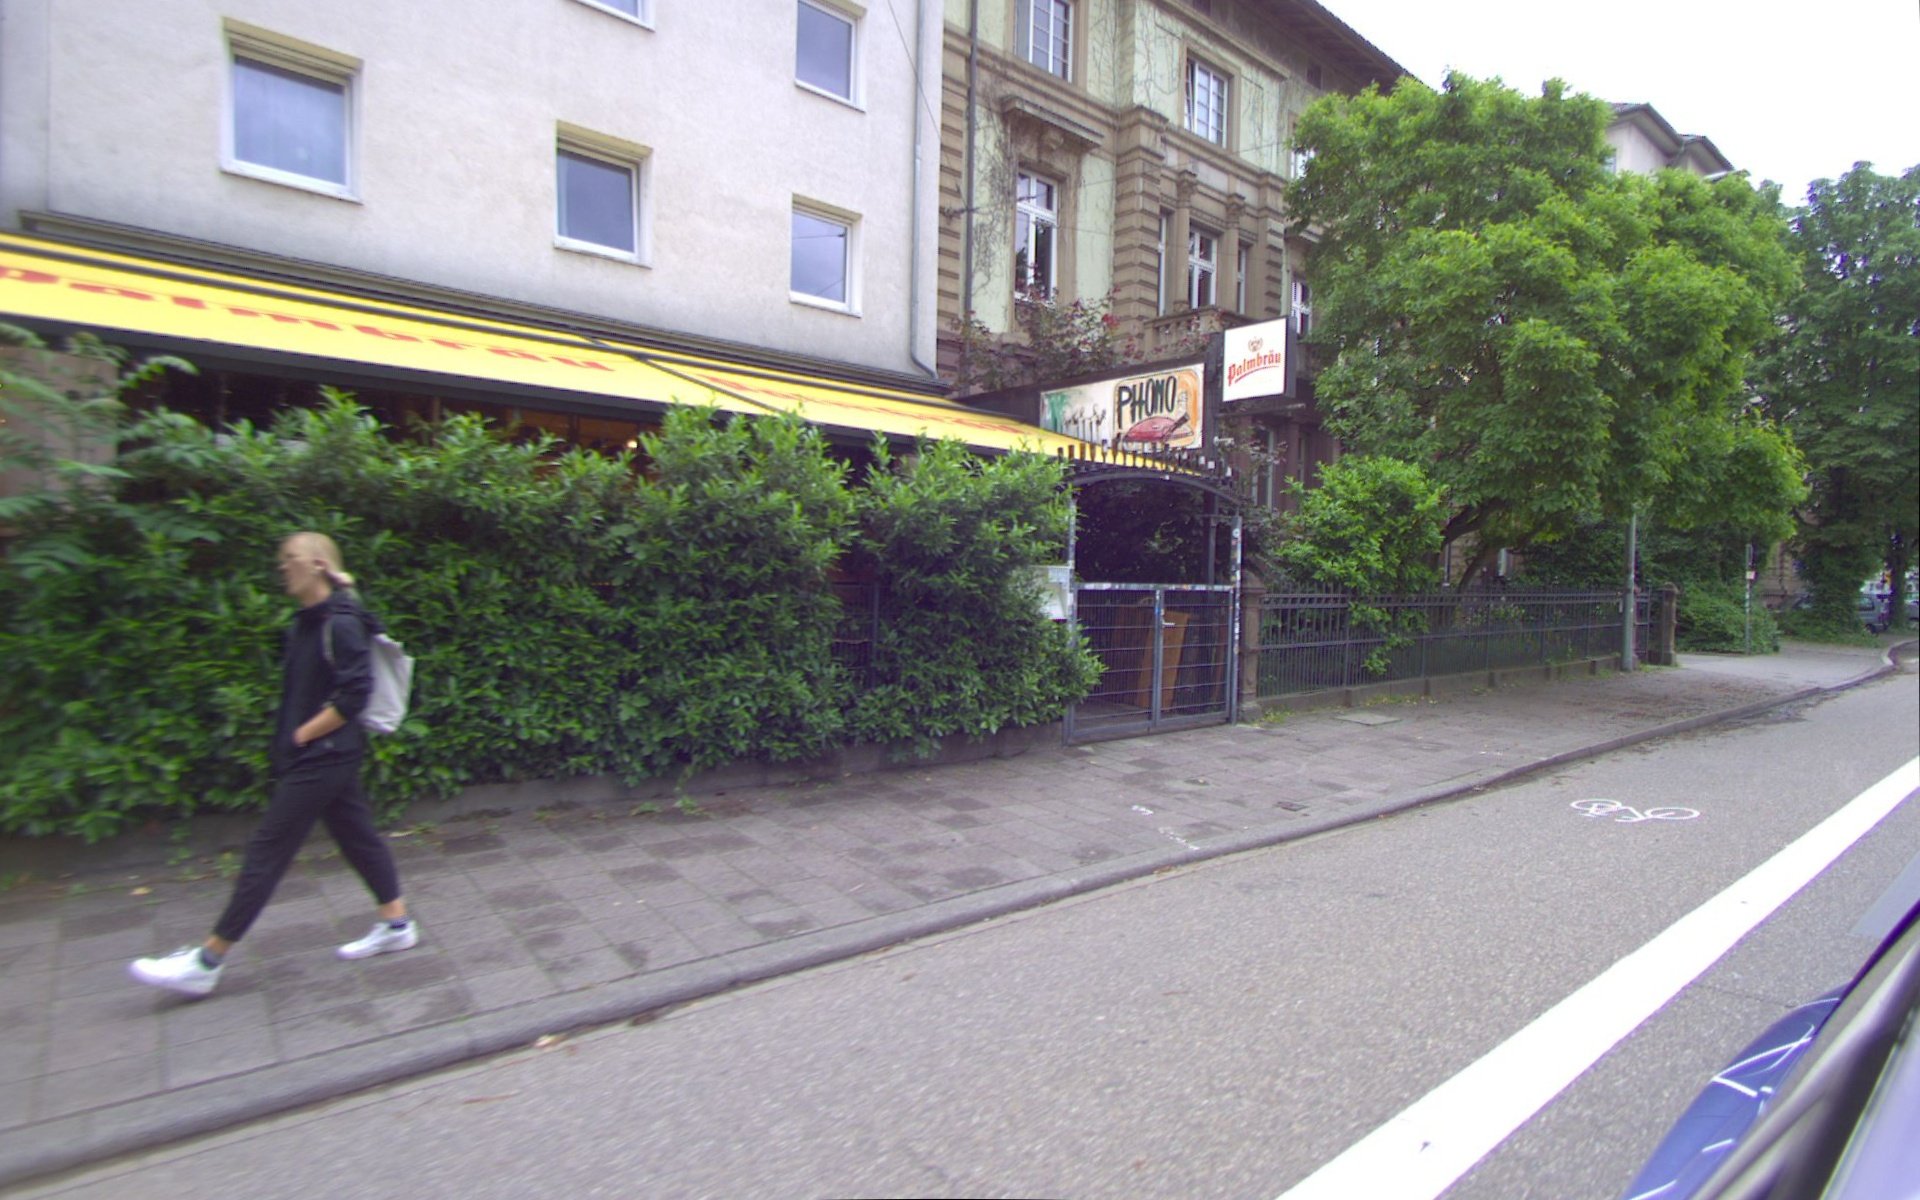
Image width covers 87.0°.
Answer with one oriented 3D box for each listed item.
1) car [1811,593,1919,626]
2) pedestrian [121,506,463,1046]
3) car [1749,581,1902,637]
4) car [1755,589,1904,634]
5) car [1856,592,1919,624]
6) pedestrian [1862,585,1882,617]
[{"bbox_3d":[43.865,0.464,48.520,4.273,1.419,1.745,2,1,18],"label":"car"},{"bbox_3d":[-2.433,0.536,3.697,0.943,1.691,0.625,1,4,-41],"label":"pedestrian"},{"bbox_3d":[31.902,0.300,37.431,3.791,1.843,1.796,2,1,19],"label":"car"},{"bbox_3d":[33.894,0.423,39.572,3.943,1.558,1.856,2,1,15],"label":"car"},{"bbox_3d":[50.111,0.436,53.075,4.286,1.571,1.733,2,1,28],"label":"car"},{"bbox_3d":[53.211,0.057,59.062,0.738,1.861,0.680,1,3,-40],"label":"pedestrian"}]
